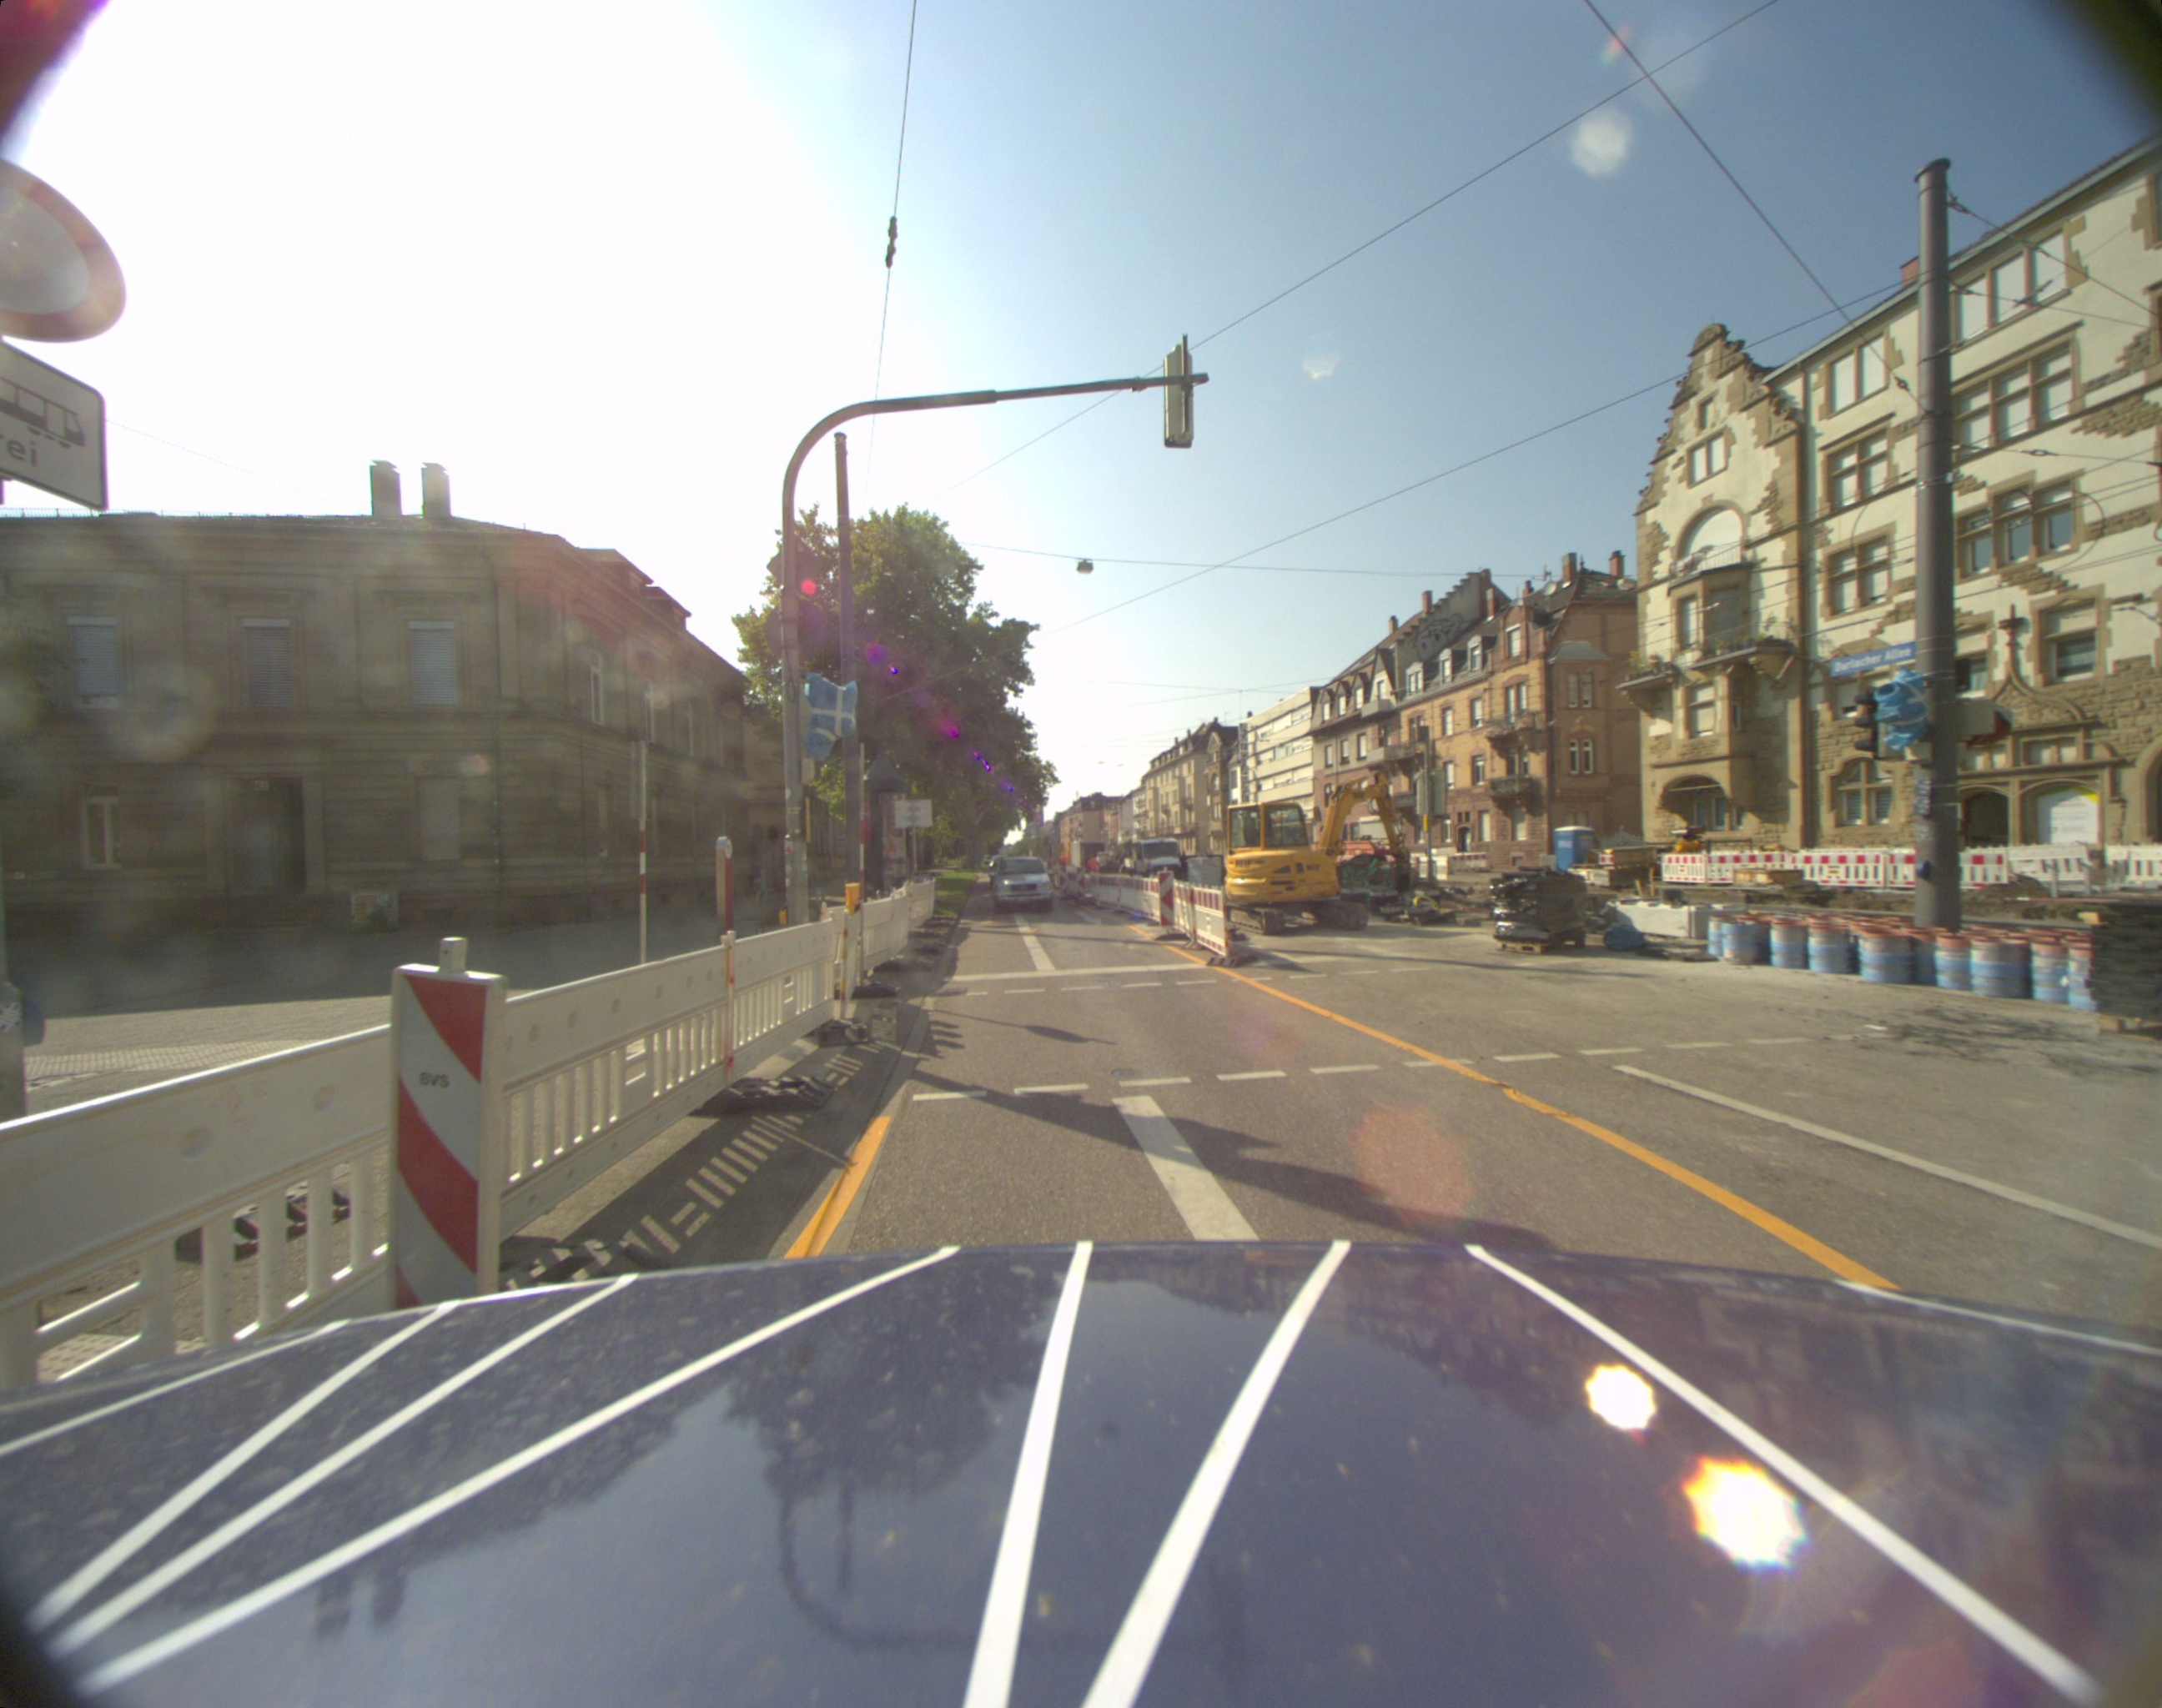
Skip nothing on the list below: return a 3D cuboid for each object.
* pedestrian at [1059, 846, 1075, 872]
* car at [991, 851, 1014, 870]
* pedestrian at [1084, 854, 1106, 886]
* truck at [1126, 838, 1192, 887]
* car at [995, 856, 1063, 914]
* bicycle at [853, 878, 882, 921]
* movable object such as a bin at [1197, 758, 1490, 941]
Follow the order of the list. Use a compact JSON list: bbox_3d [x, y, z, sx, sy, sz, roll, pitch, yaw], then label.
[{"bbox_3d":[-1.154,0.413,61.307,0.910,2.002,0.913,-3,2,19],"label":"pedestrian"},{"bbox_3d":[-7.579,0.634,72.977,2.000,1.685,5.221,-1,0,-8],"label":"car"},{"bbox_3d":[0.764,0.885,42.270,1.035,1.700,1.095,-1,1,-8],"label":"pedestrian"},{"bbox_3d":[3.764,0.387,38.252,2.164,2.209,7.047,-1,0,-3],"label":"truck"},{"bbox_3d":[-1.852,0.951,25.526,2.000,1.686,5.222,-1,0,-7],"label":"car"},{"bbox_3d":[-5.238,1.098,18.728,0.411,0.981,1.375,-1,0,-5],"label":"bicycle"},{"bbox_3d":[5.674,-0.167,16.160,6.171,3.326,2.112,-2,1,-26],"label":"movable object such as a bin"}]
